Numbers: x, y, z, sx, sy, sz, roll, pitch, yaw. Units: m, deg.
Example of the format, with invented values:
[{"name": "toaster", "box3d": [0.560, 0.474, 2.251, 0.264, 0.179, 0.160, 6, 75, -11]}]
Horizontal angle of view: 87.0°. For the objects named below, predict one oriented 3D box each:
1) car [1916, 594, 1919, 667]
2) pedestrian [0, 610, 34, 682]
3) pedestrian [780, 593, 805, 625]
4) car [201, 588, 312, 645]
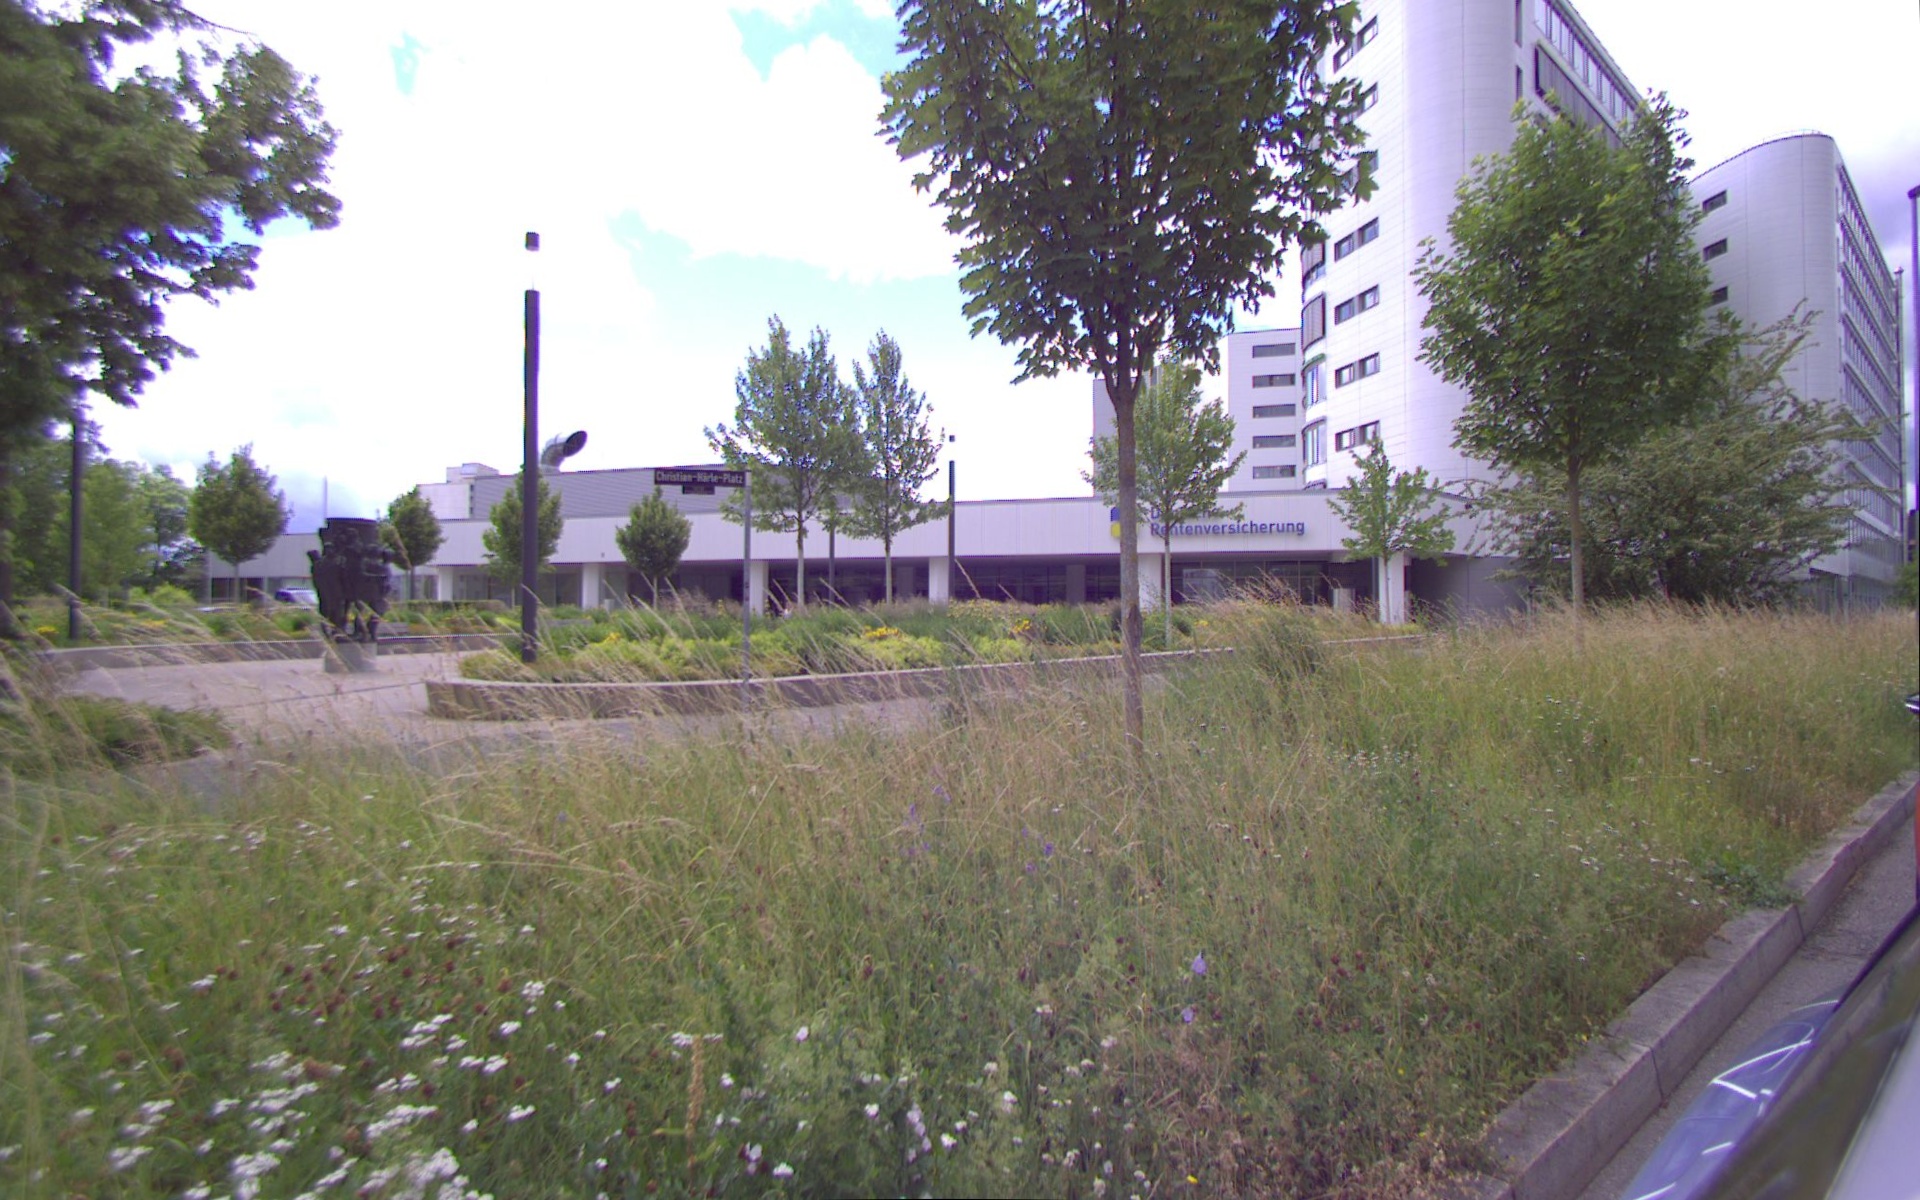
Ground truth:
[{"name": "car", "box3d": [22.617, 0.675, 22.472, 3.386, 1.594, 1.736, 0, 0, -42]}, {"name": "pedestrian", "box3d": [-17.458, 0.838, 18.667, 0.560, 1.278, 0.581, 0, 0, -43]}, {"name": "pedestrian", "box3d": [-6.788, 0.357, 40.952, 0.869, 1.290, 0.704, 1, 0, 2]}, {"name": "car", "box3d": [-23.373, 0.517, 33.609, 3.470, 1.788, 1.622, 0, 0, 27]}]
